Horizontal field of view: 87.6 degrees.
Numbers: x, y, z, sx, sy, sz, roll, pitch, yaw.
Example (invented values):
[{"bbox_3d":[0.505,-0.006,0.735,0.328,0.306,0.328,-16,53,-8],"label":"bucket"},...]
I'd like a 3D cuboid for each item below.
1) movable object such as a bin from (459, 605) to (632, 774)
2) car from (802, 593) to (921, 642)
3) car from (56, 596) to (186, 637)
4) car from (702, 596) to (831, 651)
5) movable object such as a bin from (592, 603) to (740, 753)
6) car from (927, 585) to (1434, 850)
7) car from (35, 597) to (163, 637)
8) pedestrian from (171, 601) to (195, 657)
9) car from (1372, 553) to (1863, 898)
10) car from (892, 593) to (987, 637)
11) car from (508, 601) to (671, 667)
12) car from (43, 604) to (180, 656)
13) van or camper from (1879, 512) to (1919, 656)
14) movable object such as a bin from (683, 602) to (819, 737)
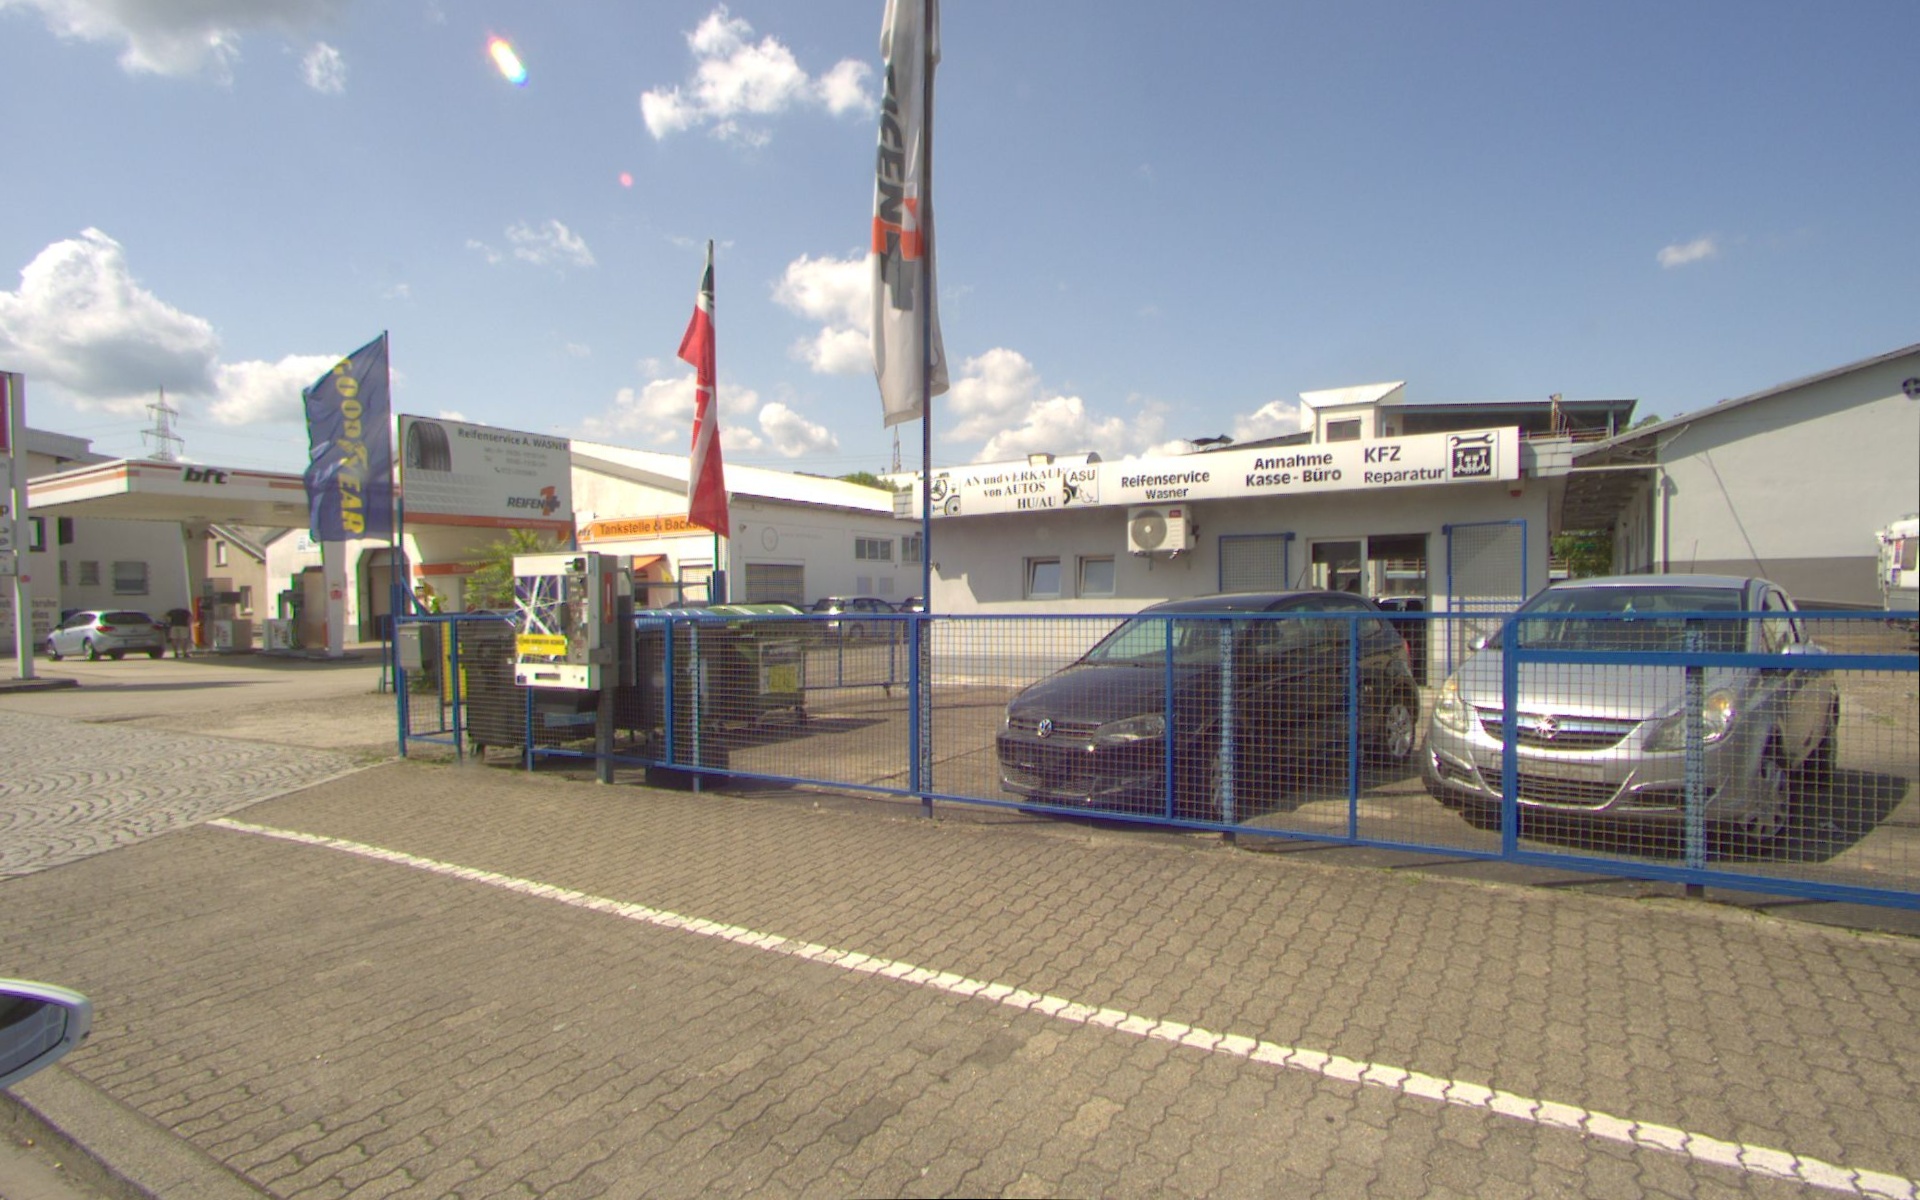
[{"bbox_3d":[-3.926,0.797,9.551,0.812,1.463,1.253,-1,1,32],"label":"movable object such as a bin"},{"bbox_3d":[-3.069,0.538,31.901,1.590,1.406,3.998,-1,1,33],"label":"car"},{"bbox_3d":[-37.074,0.702,44.322,1.937,1.671,3.979,-1,1,31],"label":"car"},{"bbox_3d":[-5.335,0.634,27.987,1.589,1.379,3.488,-1,1,32],"label":"car"},{"bbox_3d":[-3.109,0.783,10.660,0.812,1.463,1.253,-1,1,32],"label":"movable object such as a bin"},{"bbox_3d":[1.822,0.647,7.517,3.955,1.462,1.696,-1,0,-41],"label":"car"},{"bbox_3d":[-39.193,0.747,45.665,1.937,1.671,3.979,-1,1,31],"label":"car"},{"bbox_3d":[-23.829,0.887,30.716,0.478,1.711,0.395,-1,1,34],"label":"pedestrian"},{"bbox_3d":[4.371,0.540,6.389,3.958,1.516,1.734,-1,0,-43],"label":"car"},{"bbox_3d":[-0.677,0.507,35.656,1.590,1.406,3.652,-1,1,33],"label":"car"},{"bbox_3d":[-8.680,0.749,23.670,1.589,1.379,3.312,-1,1,32],"label":"car"},{"bbox_3d":[-25.834,0.915,30.468,3.941,1.439,1.956,-1,1,30],"label":"car"},{"bbox_3d":[21.414,-0.388,19.318,4.986,2.810,2.304,-1,1,29],"label":"van or camper"},{"bbox_3d":[-2.432,0.771,11.799,0.939,1.463,1.320,-1,1,25],"label":"movable object such as a bin"}]
